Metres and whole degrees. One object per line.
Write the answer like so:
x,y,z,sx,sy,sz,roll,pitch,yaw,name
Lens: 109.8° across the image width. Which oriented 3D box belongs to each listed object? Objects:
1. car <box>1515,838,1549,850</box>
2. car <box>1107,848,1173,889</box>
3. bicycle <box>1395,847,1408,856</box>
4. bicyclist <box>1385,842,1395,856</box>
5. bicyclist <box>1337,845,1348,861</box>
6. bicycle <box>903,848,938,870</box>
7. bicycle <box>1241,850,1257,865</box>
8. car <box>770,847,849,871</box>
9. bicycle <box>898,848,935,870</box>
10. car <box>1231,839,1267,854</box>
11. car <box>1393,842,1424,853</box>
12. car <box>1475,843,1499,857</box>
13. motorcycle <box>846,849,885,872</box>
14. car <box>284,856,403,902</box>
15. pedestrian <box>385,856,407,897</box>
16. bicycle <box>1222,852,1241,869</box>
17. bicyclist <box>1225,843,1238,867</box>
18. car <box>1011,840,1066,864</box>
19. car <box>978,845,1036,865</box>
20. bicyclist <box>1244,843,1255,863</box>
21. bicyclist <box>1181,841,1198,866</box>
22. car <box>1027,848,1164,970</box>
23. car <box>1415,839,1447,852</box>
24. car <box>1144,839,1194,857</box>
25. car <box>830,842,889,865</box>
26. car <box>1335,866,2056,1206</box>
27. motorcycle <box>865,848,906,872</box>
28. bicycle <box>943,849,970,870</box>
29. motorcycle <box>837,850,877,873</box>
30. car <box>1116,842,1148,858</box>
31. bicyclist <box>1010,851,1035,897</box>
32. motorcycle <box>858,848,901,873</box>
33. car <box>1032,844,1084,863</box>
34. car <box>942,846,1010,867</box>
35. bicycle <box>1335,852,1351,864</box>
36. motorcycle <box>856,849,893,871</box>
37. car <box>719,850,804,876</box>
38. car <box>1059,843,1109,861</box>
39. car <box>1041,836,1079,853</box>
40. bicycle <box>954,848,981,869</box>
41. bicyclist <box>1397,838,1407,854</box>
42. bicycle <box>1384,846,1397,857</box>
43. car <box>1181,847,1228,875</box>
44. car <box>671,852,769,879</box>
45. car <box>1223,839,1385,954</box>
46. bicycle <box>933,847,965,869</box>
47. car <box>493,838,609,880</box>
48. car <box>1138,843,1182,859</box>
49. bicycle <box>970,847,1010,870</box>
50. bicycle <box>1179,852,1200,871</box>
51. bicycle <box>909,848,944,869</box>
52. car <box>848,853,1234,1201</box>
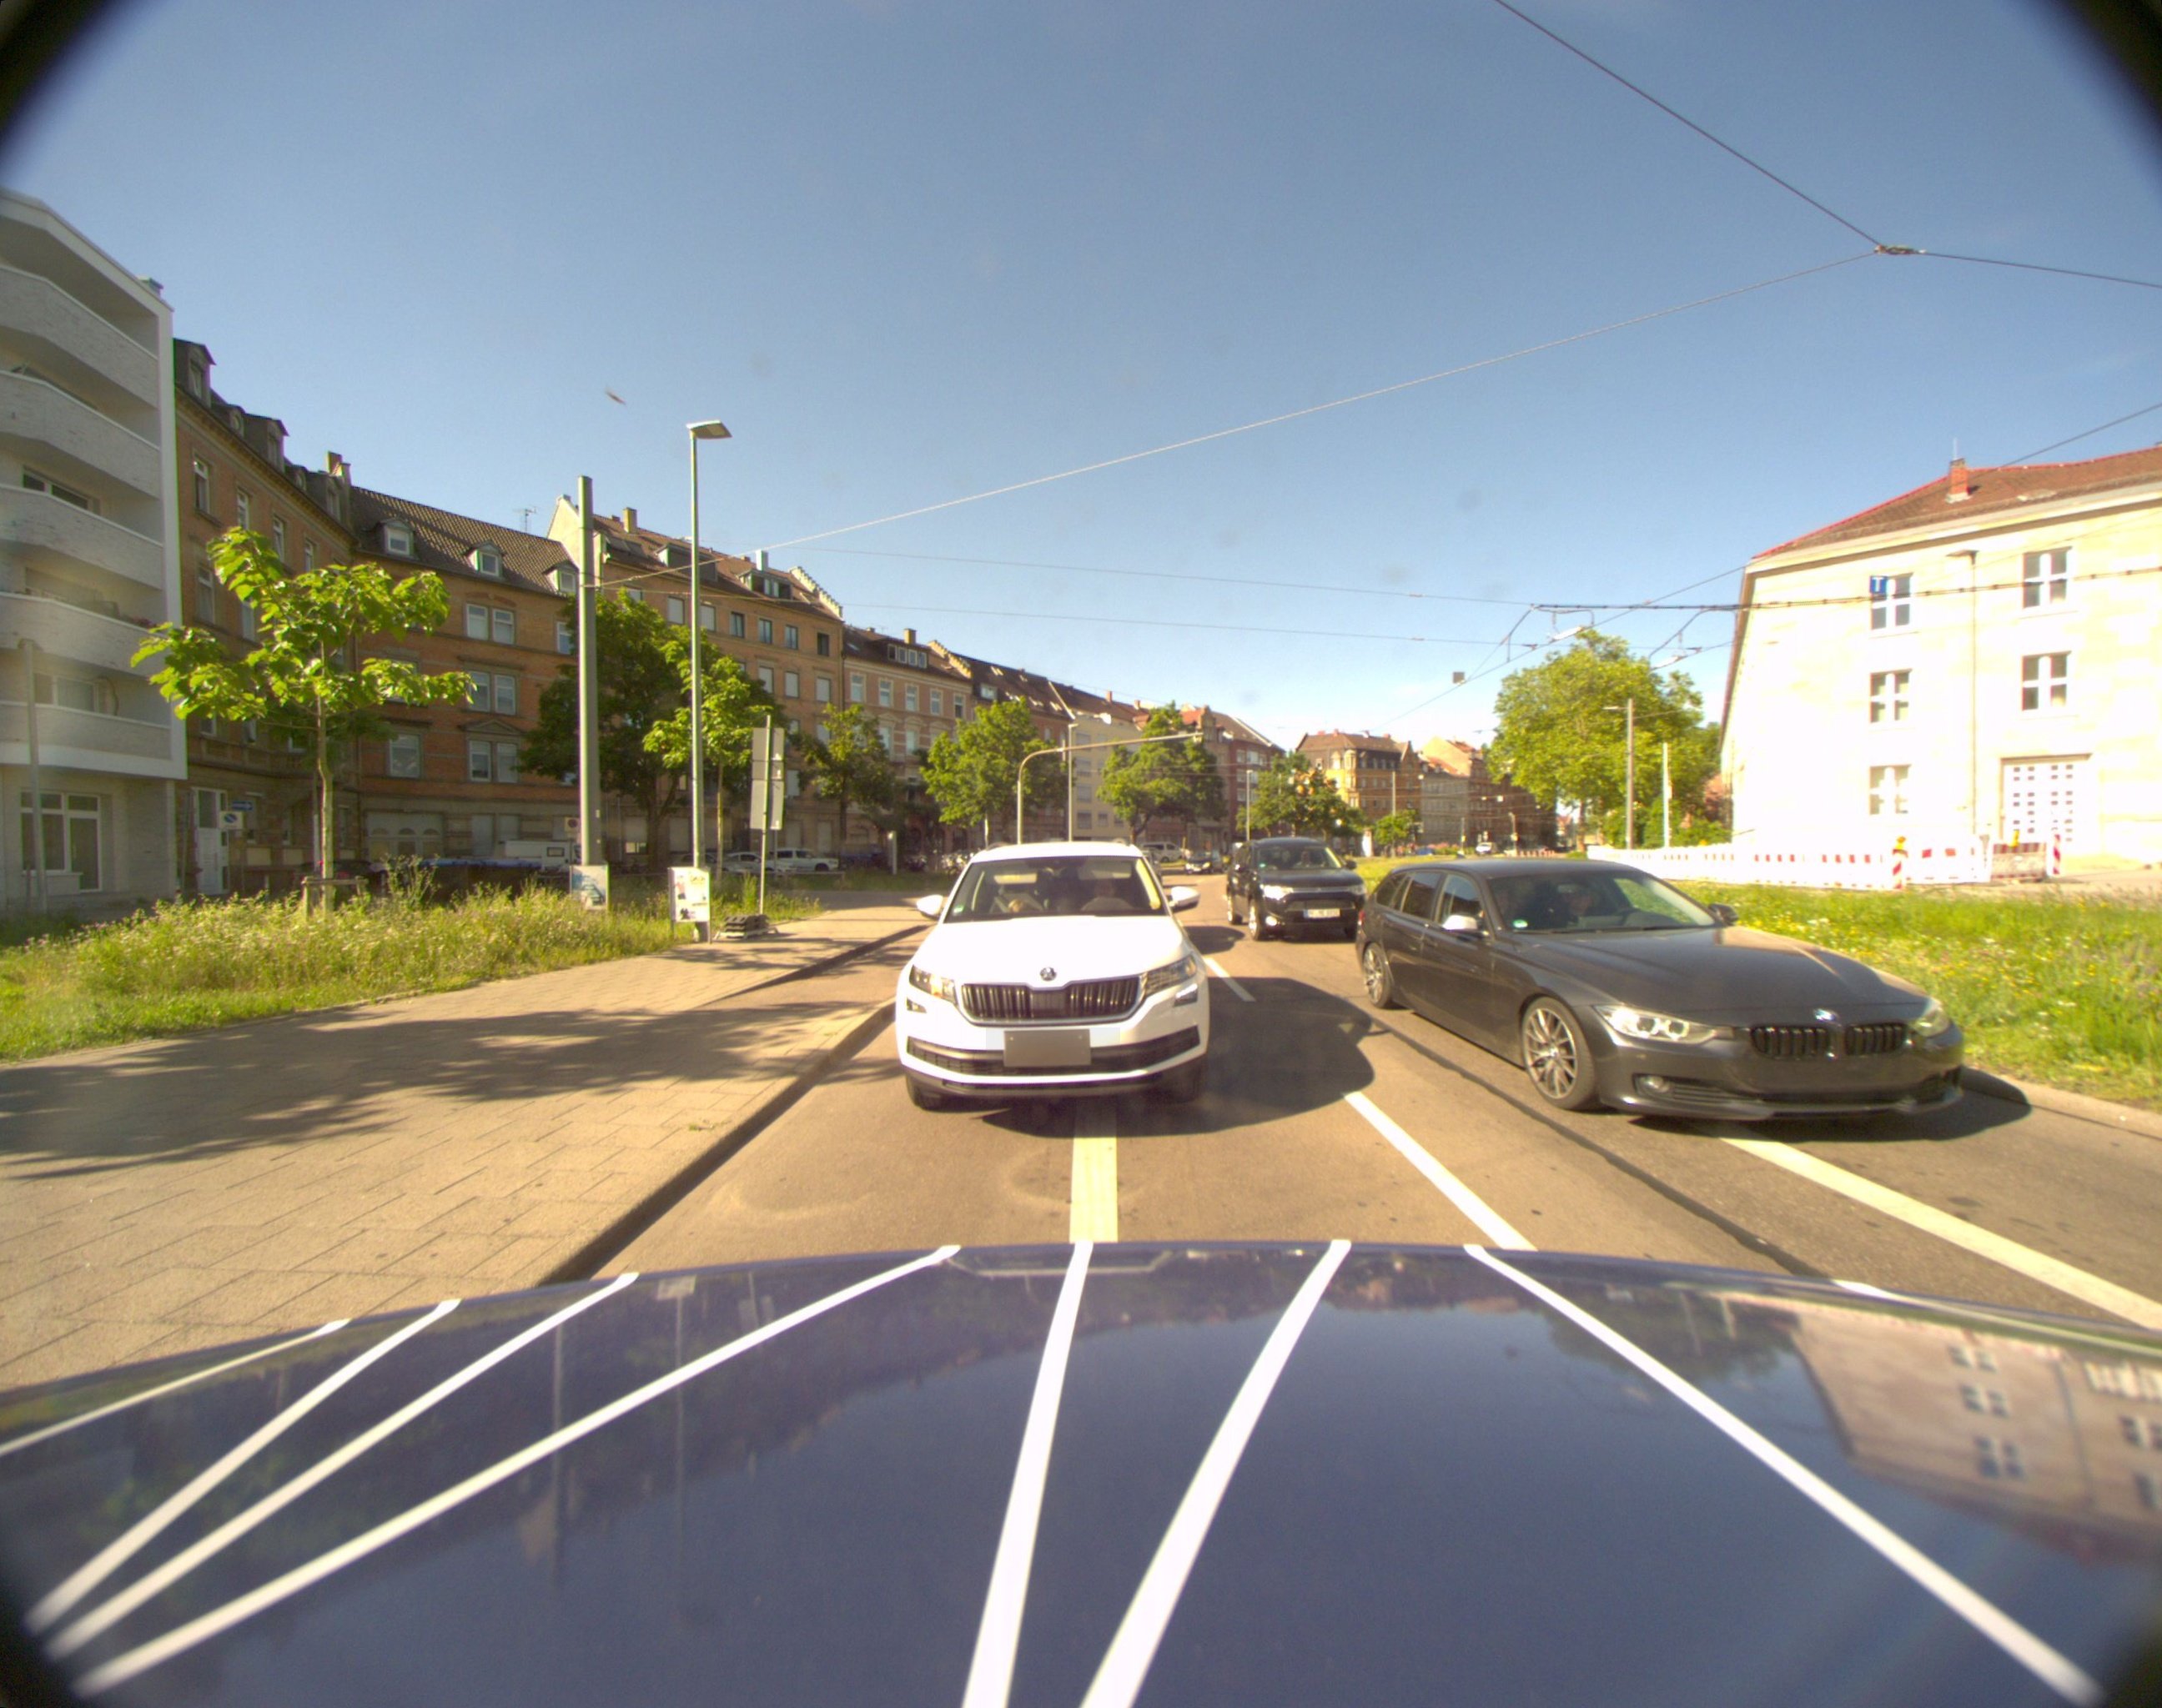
64.015,-1.369,107.825,4.058,1.647,1.770,1,2,34,car
2.568,0.553,32.140,1.837,1.543,4.153,0,1,18,car
41.012,-0.374,97.156,0.762,1.138,2.287,0,1,42,bicycle
37.326,-0.605,91.837,0.734,1.685,0.973,0,1,44,bicyclist
27.591,-0.102,80.119,0.667,1.619,0.973,0,1,44,bicyclist
-9.712,0.290,46.006,2.198,1.260,0.664,-2,1,32,bicycle
14.010,0.296,63.319,0.636,1.190,2.158,0,1,32,bicycle
-14.686,0.251,41.192,3.700,1.244,1.540,0,1,2,car
-9.748,0.302,45.067,2.198,1.260,0.664,-2,1,30,bicycle
18.688,-0.827,84.657,3.823,1.581,1.600,0,1,6,car
50.684,-0.981,117.616,4.058,1.647,1.770,1,2,36,car
61.625,-0.618,115.218,1.977,2.074,4.723,1,2,44,car
-12.945,0.410,45.622,2.314,1.276,0.664,-2,1,24,motorcycle
-26.173,0.825,27.145,1.835,1.419,4.378,-1,1,-27,car
-25.020,0.821,27.770,0.509,1.448,0.481,-3,2,-38,pedestrian
12.053,0.505,60.713,0.757,1.293,2.158,0,2,33,bicycle
12.034,0.081,60.647,0.808,1.855,0.751,1,3,34,bicyclist
-3.113,-0.142,56.101,3.825,1.698,1.682,0,1,3,car
-5.232,0.082,53.962,3.822,1.398,1.683,0,1,9,car
14.014,-0.103,63.253,0.629,1.619,0.973,0,1,31,bicyclist
7.684,-0.042,53.698,0.714,1.715,1.096,1,1,35,bicyclist
0.233,0.758,12.787,1.842,1.636,4.397,-2,0,1,car
54.220,-1.330,117.835,4.339,1.871,1.843,0,1,21,car
8.192,-0.595,70.607,4.578,1.658,1.600,0,1,7,car
-15.616,-0.062,53.668,1.547,1.578,3.709,1,2,41,car
3.474,0.847,5.592,1.741,1.359,4.426,-2,0,1,car
-11.154,0.353,43.291,2.200,1.315,0.664,-2,1,18,motorcycle
-7.691,0.336,46.757,0.664,1.260,2.199,-3,1,-36,bicycle
-13.294,0.434,45.016,2.314,1.270,0.664,-2,1,24,motorcycle
5.462,-0.429,80.725,1.547,1.578,3.607,1,2,41,car
-1.858,0.629,24.405,0.668,1.428,0.940,-1,1,3,bicyclist
-11.184,0.370,42.204,2.200,1.322,0.663,-2,1,13,motorcycle
-1.781,-0.059,58.710,3.823,1.398,1.600,0,1,6,car
-7.048,0.170,51.293,4.322,1.398,1.682,0,1,3,car
27.677,0.404,80.212,0.667,1.190,2.159,0,1,44,bicycle
-12.608,0.396,46.401,2.199,1.260,0.664,-2,1,24,motorcycle
-16.412,0.435,39.103,3.696,1.244,1.683,0,1,13,car
0.255,-0.165,61.162,3.823,1.398,1.600,0,1,6,car
-1.945,-0.948,71.663,1.547,1.578,3.607,1,2,41,car
-7.128,0.303,47.751,0.664,1.260,2.199,-3,1,-36,bicycle
41.030,-1.015,97.170,0.847,2.002,1.199,0,1,42,bicyclist
37.433,-0.299,91.964,0.735,1.353,2.079,0,1,44,bicycle
7.904,0.392,48.356,1.836,1.637,4.155,0,1,25,car
-17.505,0.529,36.903,4.156,1.244,1.683,0,1,13,car
3.693,0.623,13.396,1.841,1.636,4.399,-2,0,5,car
-7.734,0.235,44.515,0.664,1.260,2.198,-3,1,-45,bicycle
-27.123,0.212,39.006,2.047,2.026,4.510,1,2,41,car
7.120,-0.255,68.177,3.823,1.372,1.600,0,1,9,car
-5.481,0.262,45.736,2.207,1.260,0.662,-3,1,-25,bicycle
7.684,0.497,53.689,0.714,1.319,1.752,1,1,34,bicycle
-9.515,0.274,46.709,2.198,1.260,0.664,-2,1,32,bicycle
-0.232,0.851,5.947,1.842,1.636,4.397,-2,0,-1,car
